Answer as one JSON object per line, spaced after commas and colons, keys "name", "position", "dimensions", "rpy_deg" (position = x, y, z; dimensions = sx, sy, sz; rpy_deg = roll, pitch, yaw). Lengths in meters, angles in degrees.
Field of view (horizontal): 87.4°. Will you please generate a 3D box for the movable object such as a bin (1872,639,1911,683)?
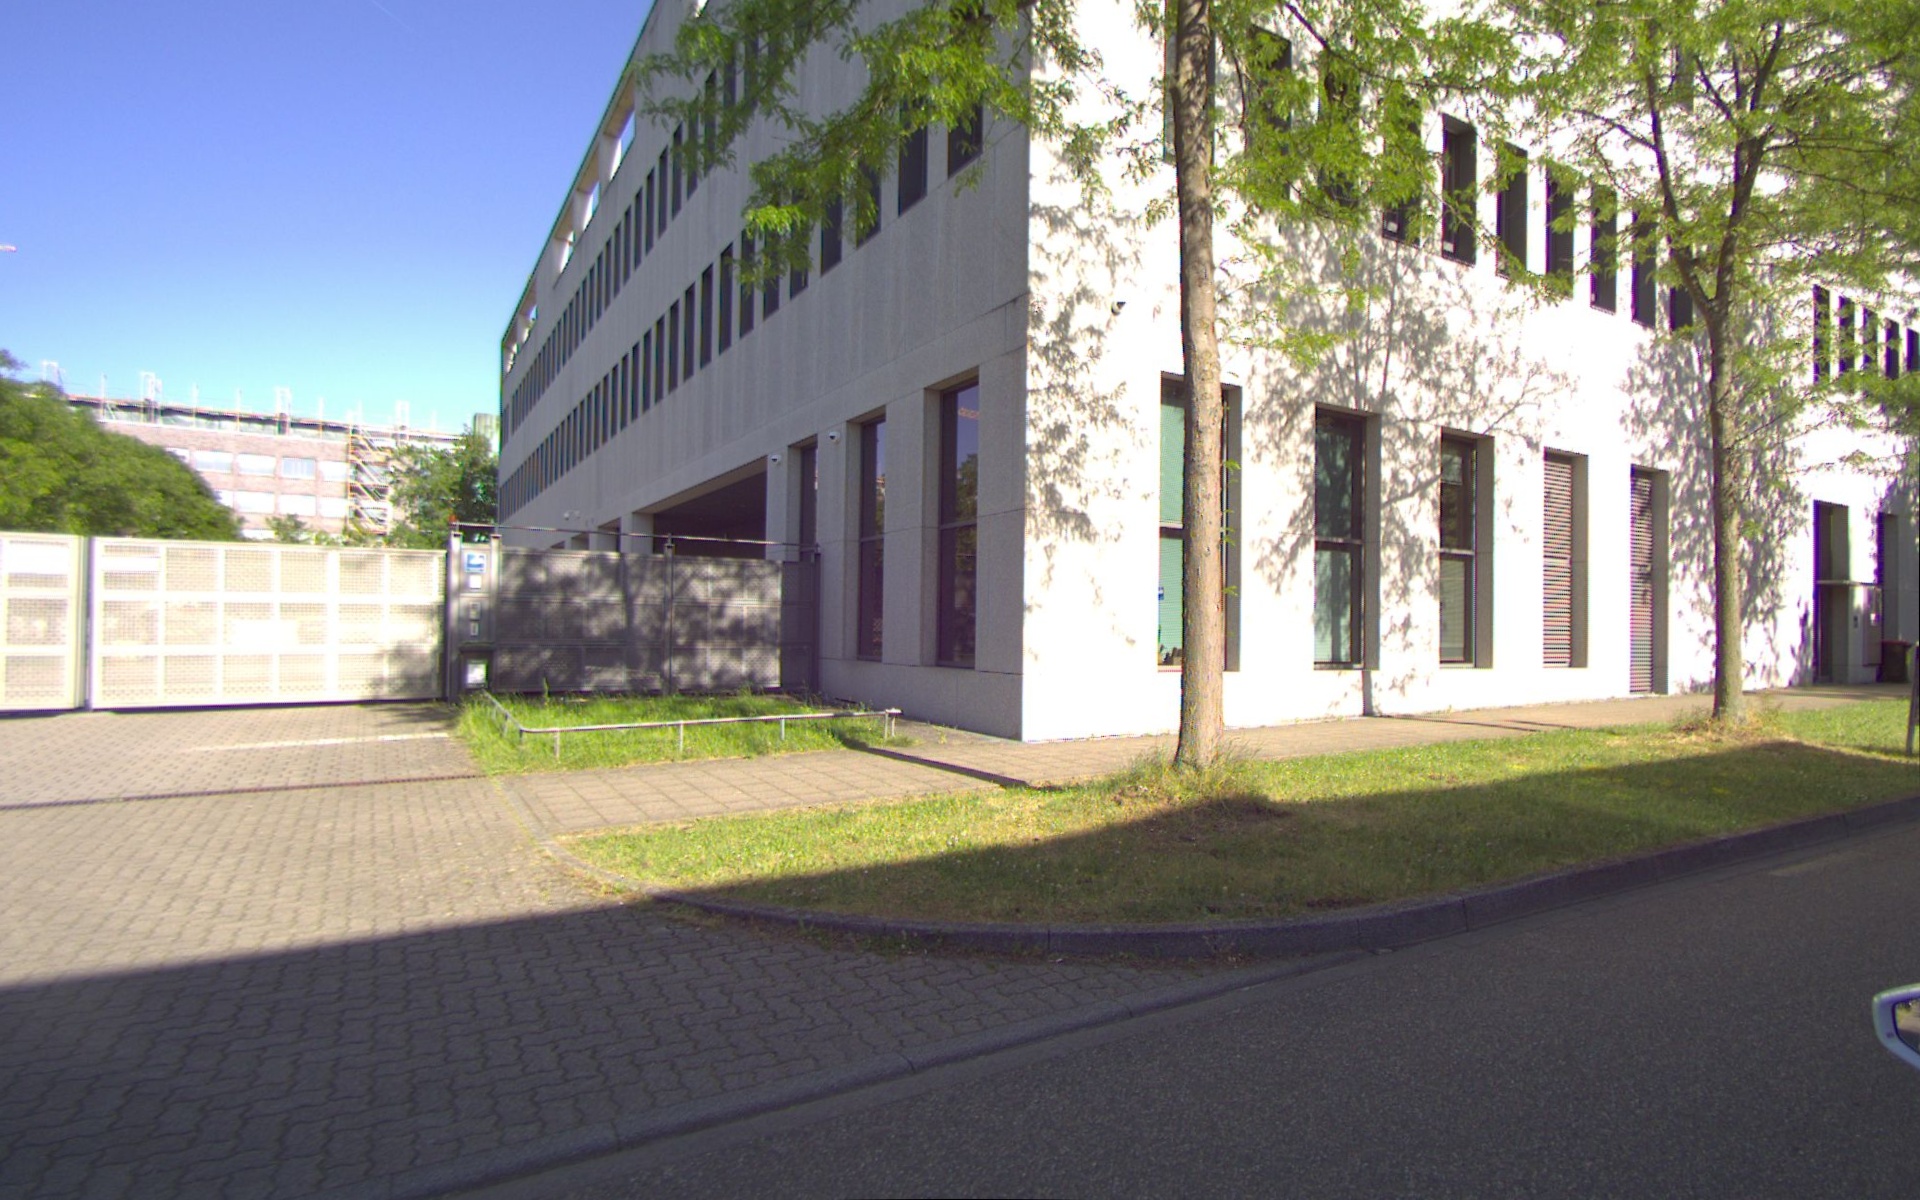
{"name": "movable object such as a bin", "position": [23.272, 1.510, 25.091], "dimensions": [0.537, 1.054, 0.590], "rpy_deg": [1, 0, -32]}
